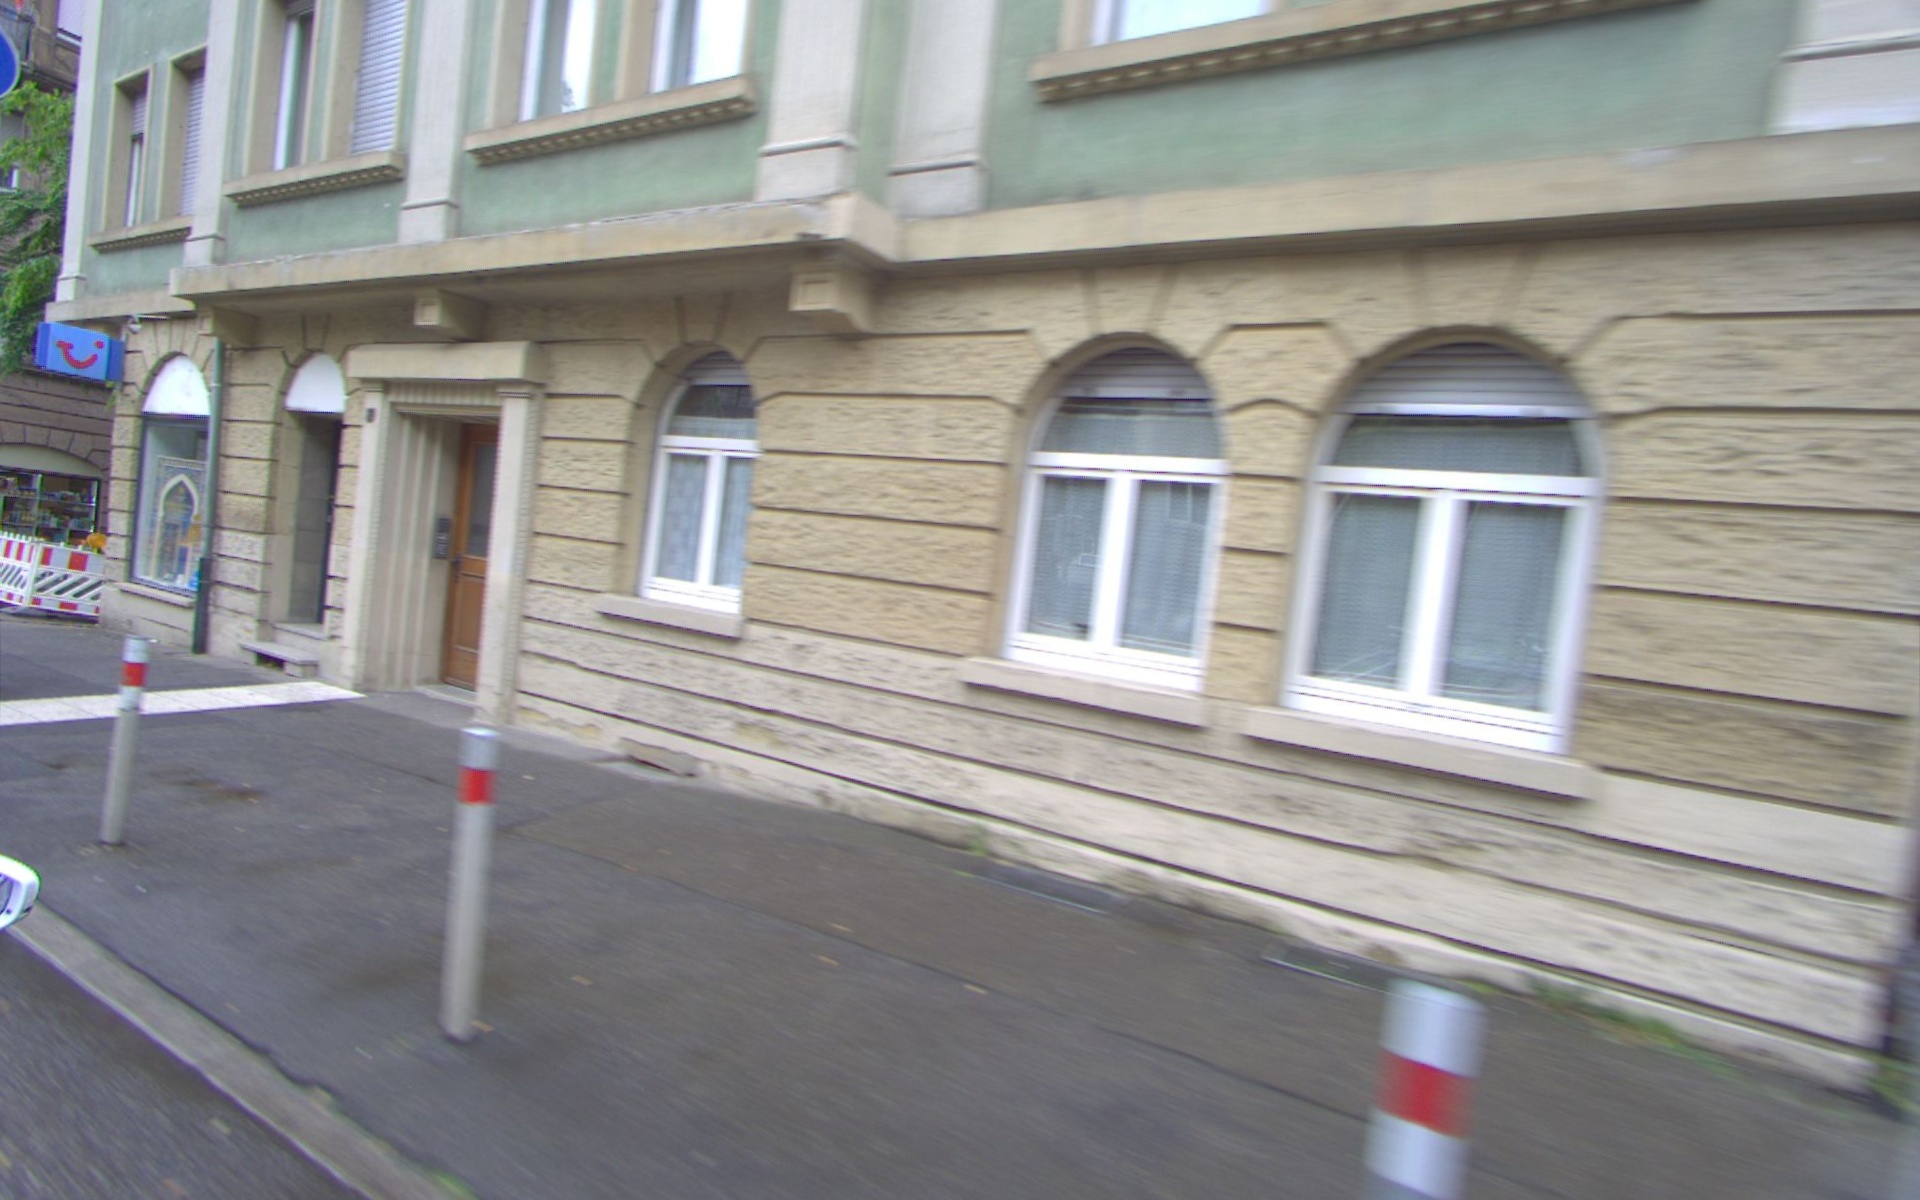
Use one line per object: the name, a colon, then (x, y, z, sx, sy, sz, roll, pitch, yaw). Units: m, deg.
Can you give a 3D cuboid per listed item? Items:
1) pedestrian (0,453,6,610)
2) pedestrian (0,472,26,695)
pedestrian: (-8.319, -0.341, 8.037, 0.708, 1.798, 0.663, 5, 3, -10)
pedestrian: (-7.266, -0.152, 7.347, 0.594, 1.606, 0.657, 2, 4, -44)
